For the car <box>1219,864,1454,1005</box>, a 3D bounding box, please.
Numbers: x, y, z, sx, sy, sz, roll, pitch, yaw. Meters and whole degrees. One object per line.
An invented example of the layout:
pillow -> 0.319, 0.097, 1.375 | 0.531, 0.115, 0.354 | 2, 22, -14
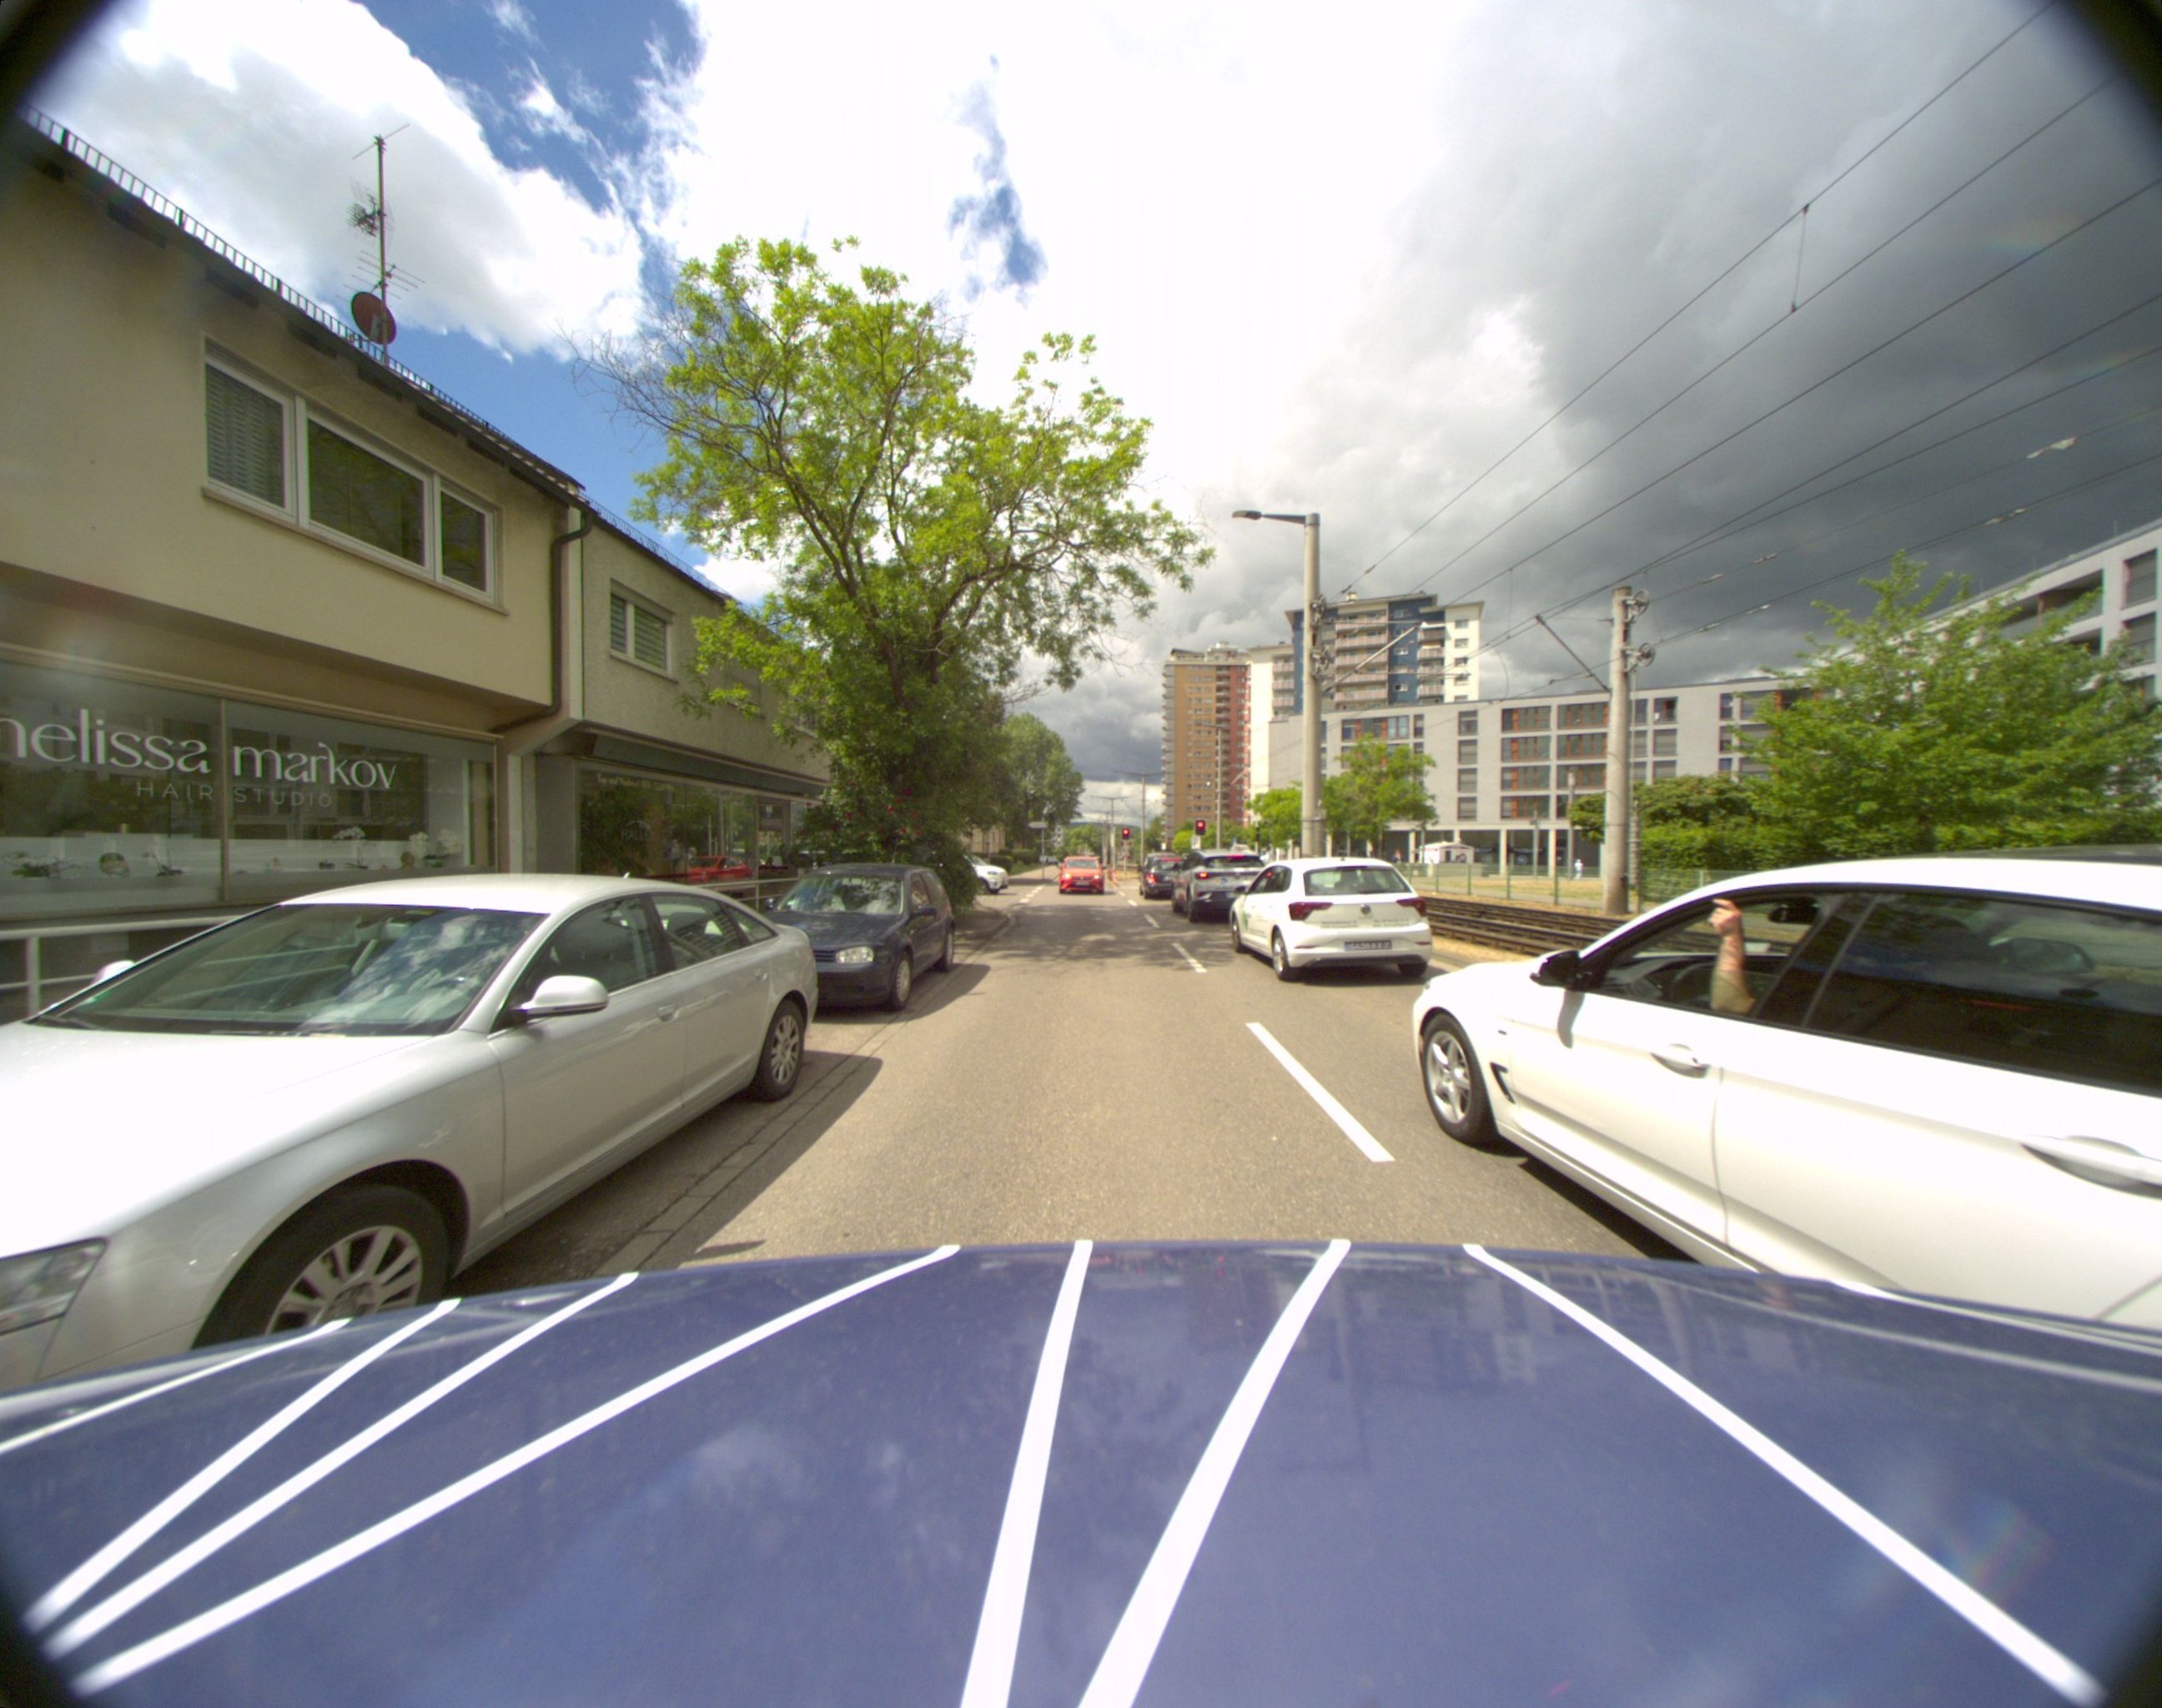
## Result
car -> 3.123, 0.893, 10.197 | 1.751, 1.398, 3.939 | -2, 0, -1

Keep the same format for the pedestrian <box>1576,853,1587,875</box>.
pedestrian -> 42.791, 0.861, 64.947 | 0.748, 1.895, 0.539 | 0, 1, 28

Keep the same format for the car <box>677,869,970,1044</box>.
car -> -2.603, 0.959, 8.810 | 1.818, 1.455, 4.041 | -1, 0, 3

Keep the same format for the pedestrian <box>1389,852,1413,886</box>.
pedestrian -> 15.279, 0.694, 36.265 | 0.756, 1.603, 0.938 | -1, 1, 0

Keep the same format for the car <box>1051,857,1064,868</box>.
car -> -3.802, 1.353, 122.724 | 1.843, 1.648, 3.789 | -1, 0, 0

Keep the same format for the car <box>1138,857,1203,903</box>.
car -> 3.046, 0.846, 26.573 | 1.815, 1.437, 4.465 | -1, 0, 1

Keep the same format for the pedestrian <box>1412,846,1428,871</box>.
pedestrian -> 28.103, 0.361, 63.001 | 0.734, 2.002, 0.910 | -1, 1, -17

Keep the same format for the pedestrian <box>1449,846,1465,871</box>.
pedestrian -> 23.953, 0.270, 48.385 | 0.538, 1.601, 0.748 | -1, 1, -22

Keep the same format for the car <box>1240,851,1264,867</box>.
car -> 17.768, 0.466, 79.050 | 1.893, 1.613, 3.804 | -1, 0, 4

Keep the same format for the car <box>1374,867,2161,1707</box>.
car -> 2.708, 0.870, 2.214 | 1.822, 1.494, 4.836 | -2, 0, 0

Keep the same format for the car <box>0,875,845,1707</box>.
car -> -2.846, 0.930, 3.356 | 1.818, 1.490, 4.911 | -1, 0, 3

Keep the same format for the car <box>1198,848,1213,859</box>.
car -> 20.423, -0.080, 124.615 | 1.781, 1.650, 3.803 | -1, 0, 0

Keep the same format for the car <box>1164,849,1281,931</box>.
car -> 3.181, 0.739, 17.968 | 1.862, 1.680, 4.433 | -1, 0, -1

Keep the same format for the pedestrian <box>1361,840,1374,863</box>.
pedestrian -> 20.920, -0.175, 55.431 | 0.749, 1.644, 0.538 | -1, 1, 1

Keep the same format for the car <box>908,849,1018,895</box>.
car -> -4.395, 0.642, 28.576 | 3.642, 1.562, 1.843 | 2, 1, 12

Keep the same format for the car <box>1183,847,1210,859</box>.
car -> 19.616, -0.118, 129.002 | 4.505, 1.914, 1.877 | -1, 1, -40

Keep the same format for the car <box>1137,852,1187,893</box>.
car -> 3.438, 0.746, 32.872 | 1.862, 1.650, 4.176 | -1, 0, 3

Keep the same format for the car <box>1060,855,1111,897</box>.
car -> 0.224, 0.811, 29.969 | 1.791, 1.387, 4.242 | 3, 1, 2

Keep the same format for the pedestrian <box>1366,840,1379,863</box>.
pedestrian -> 20.968, -0.166, 54.697 | 0.749, 1.644, 0.538 | -1, 1, 1
